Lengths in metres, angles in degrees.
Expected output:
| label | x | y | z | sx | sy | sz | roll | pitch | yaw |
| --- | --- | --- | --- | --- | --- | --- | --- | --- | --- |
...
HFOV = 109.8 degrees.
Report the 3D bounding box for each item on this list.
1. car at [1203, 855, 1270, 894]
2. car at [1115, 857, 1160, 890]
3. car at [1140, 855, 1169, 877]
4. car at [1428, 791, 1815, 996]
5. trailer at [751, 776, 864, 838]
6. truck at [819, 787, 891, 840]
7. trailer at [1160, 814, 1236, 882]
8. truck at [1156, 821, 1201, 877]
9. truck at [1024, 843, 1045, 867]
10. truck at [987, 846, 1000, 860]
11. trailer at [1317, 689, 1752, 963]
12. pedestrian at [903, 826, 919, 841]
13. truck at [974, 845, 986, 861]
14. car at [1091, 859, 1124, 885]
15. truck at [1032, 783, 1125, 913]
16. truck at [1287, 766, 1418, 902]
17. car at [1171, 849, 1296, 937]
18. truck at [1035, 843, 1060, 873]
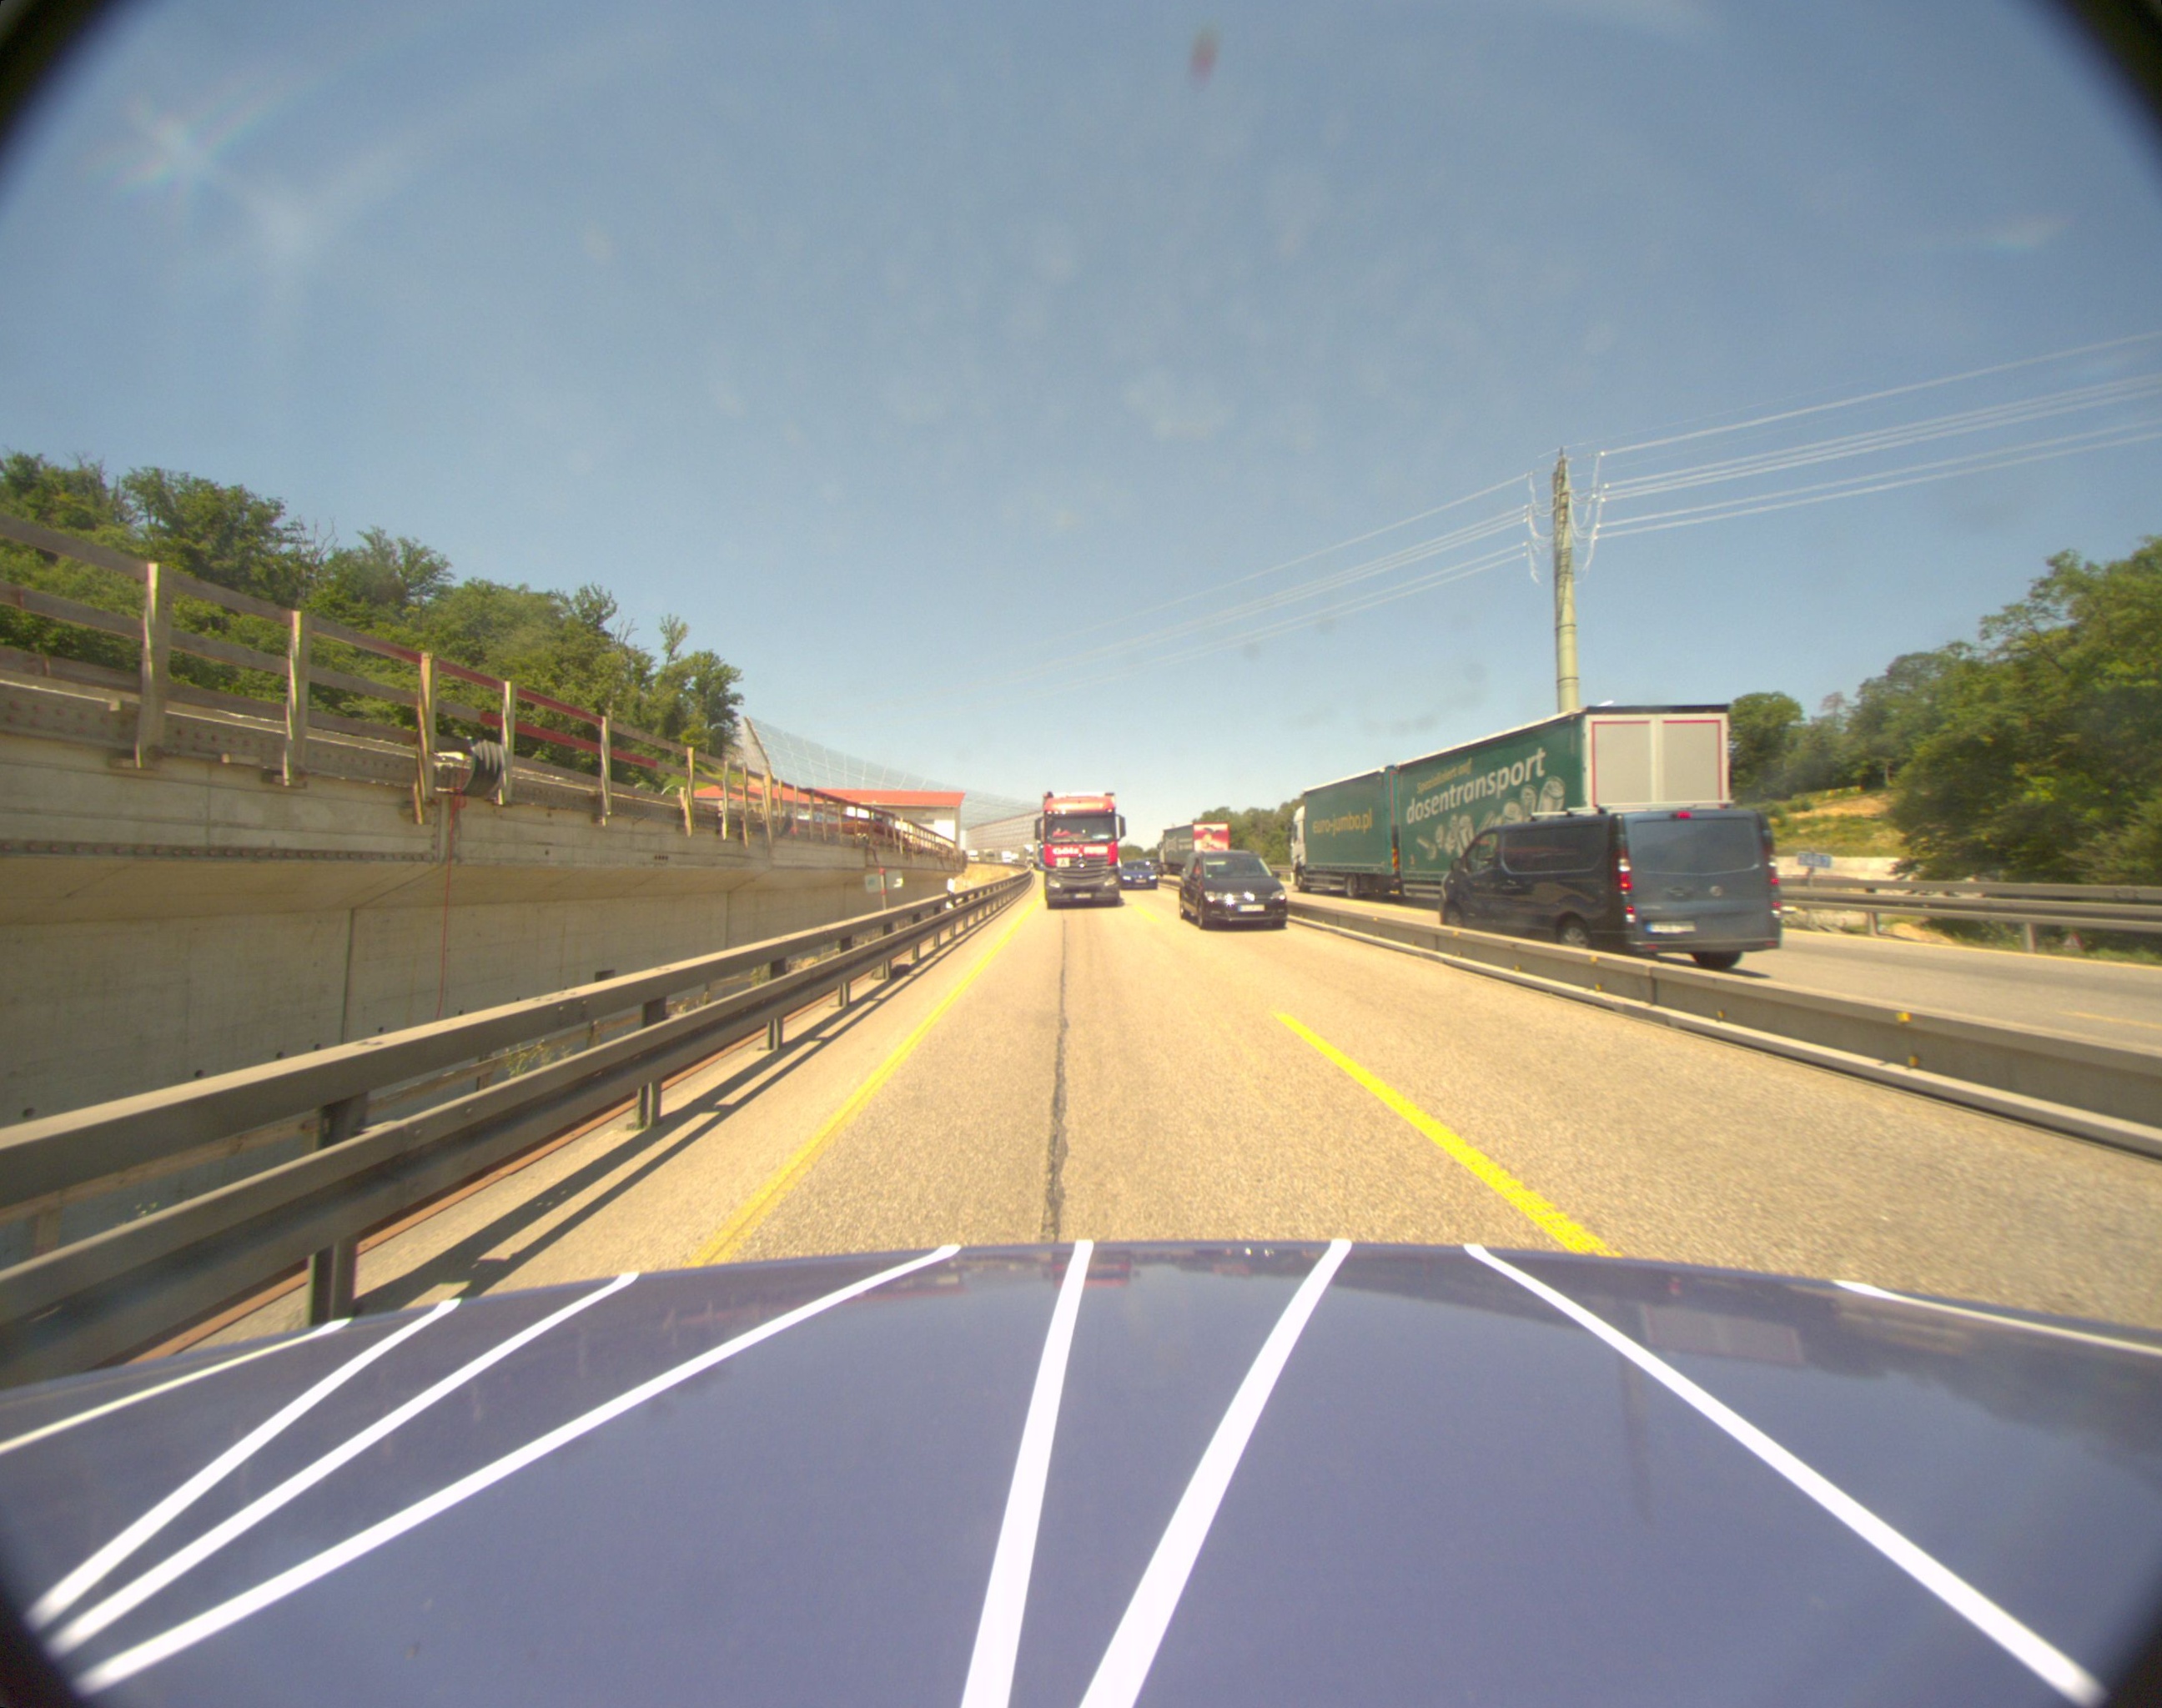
| label | x | y | z | sx | sy | sz | roll | pitch | yaw |
| --- | --- | --- | --- | --- | --- | --- | --- | --- | --- |
| car | 6.682 | 0.831 | 33.198 | 1.907 | 1.454 | 4.756 | -2 | 1 | 0 |
| car | 2.854 | 0.974 | 39.317 | 1.896 | 1.546 | 4.786 | -2 | -1 | 0 |
| car | 5.832 | 0.939 | 60.728 | 1.962 | 1.671 | 4.114 | -1 | 0 | 1 |
| car | 6.953 | 0.401 | 10.627 | 1.998 | 2.160 | 4.832 | -2 | 1 | 1 |
| trailer | -19.949 | -3.308 | 56.197 | 2.713 | 3.671 | 9.012 | -1 | -2 | 20 |
| truck | -18.109 | -3.172 | 61.242 | 2.713 | 3.671 | 5.721 | -1 | -2 | 20 |
| trailer | 9.110 | -0.383 | 61.404 | 3.073 | 4.787 | 13.998 | -2 | 0 | -3 |
| truck | 8.715 | -0.404 | 68.543 | 3.069 | 4.793 | 4.644 | -2 | 0 | -3 |
| truck | -8.675 | 0.094 | 141.809 | 2.912 | 4.207 | 9.232 | -2 | 1 | -9 |
| truck | -26.703 | -0.408 | 231.716 | 3.044 | 4.033 | 8.666 | -2 | 1 | -10 |
| trailer | 10.074 | -0.574 | 20.335 | 2.841 | 4.615 | 14.578 | -2 | 1 | 0 |
| pedestrian | -13.583 | -1.647 | 60.657 | 1.022 | 1.144 | 0.994 | -2 | 1 | 3 |
| truck | -30.564 | -0.310 | 229.959 | 3.044 | 4.778 | 8.932 | -2 | 1 | -10 |
| car | 2.064 | 1.394 | 59.760 | 1.947 | 1.858 | 5.221 | -2 | -1 | -5 |
| truck | -0.045 | -0.264 | 29.056 | 2.798 | 3.986 | 10.428 | -2 | 1 | 0 |
| truck | 10.084 | -0.717 | 28.914 | 2.853 | 4.554 | 5.786 | -2 | 1 | 0 |
| car | 3.343 | 0.806 | 17.786 | 1.861 | 1.695 | 5.304 | -2 | -1 | 0 |
| truck | -4.848 | 0.527 | 108.299 | 2.673 | 3.986 | 10.422 | -2 | 1 | -7 |
